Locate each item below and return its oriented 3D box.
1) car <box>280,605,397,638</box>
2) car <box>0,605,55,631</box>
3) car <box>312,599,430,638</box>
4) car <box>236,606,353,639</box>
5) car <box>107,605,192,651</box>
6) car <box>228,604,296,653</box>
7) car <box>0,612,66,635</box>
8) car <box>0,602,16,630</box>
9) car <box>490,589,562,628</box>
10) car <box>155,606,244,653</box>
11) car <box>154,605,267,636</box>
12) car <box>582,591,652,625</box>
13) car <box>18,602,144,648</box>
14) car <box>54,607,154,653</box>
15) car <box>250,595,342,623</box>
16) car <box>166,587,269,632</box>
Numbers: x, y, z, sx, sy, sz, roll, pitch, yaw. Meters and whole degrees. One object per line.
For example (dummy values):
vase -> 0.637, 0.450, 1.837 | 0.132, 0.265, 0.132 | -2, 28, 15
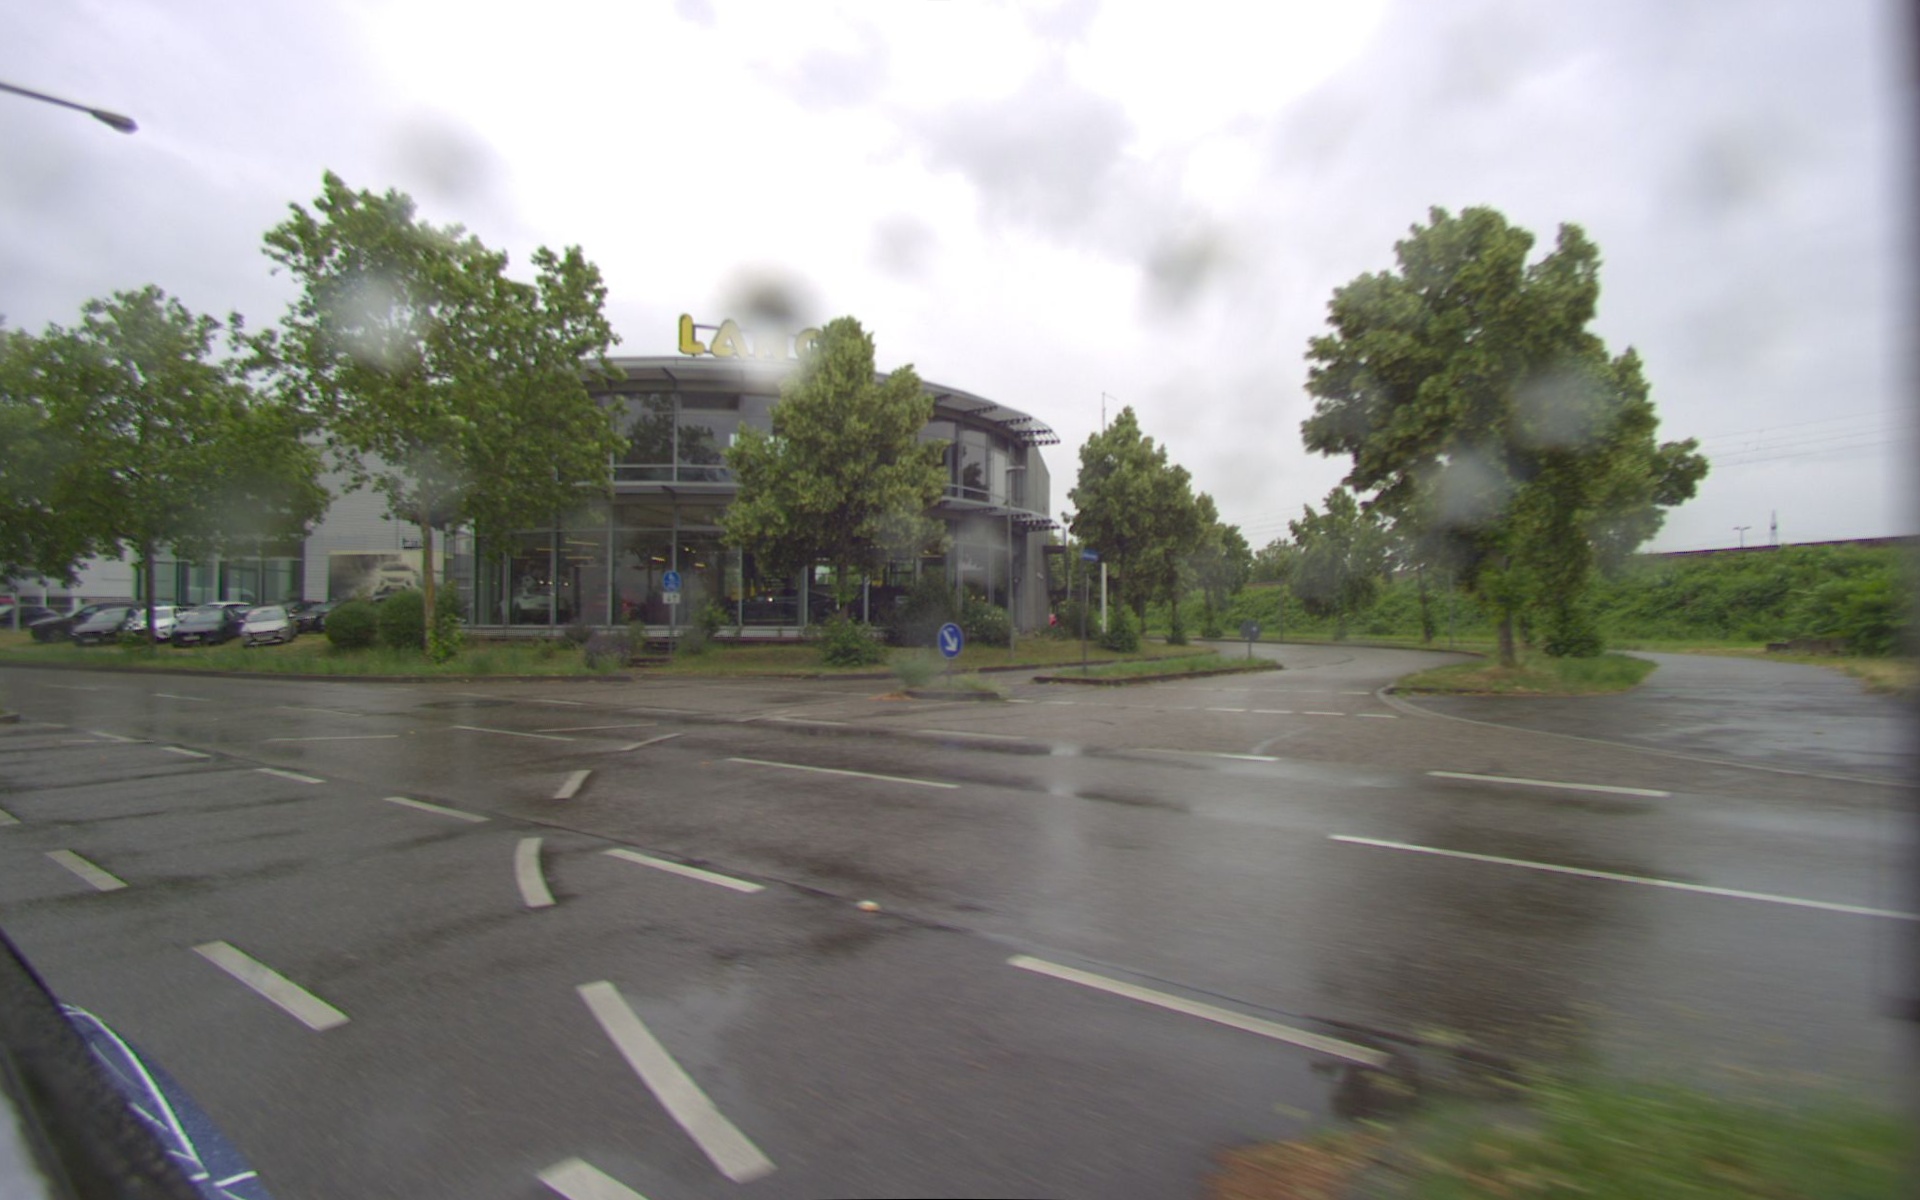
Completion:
car -> -29.433, 1.001, 48.052 | 1.919, 1.485, 4.376 | -1, -1, 41
car -> -54.137, 1.057, 57.275 | 1.830, 1.367, 3.990 | -2, 1, 15
car -> -27.294, 0.840, 47.034 | 1.919, 1.751, 4.376 | -1, -1, 41
car -> -32.067, 1.065, 48.826 | 1.919, 1.485, 4.376 | -1, -1, 41
car -> -36.231, 1.217, 45.375 | 1.816, 1.489, 4.145 | -6, 6, -23
car -> -28.672, 1.127, 41.669 | 1.755, 1.486, 4.014 | -7, 7, -28
car -> -64.071, 1.629, 69.502 | 4.110, 1.407, 1.763 | -2, 0, 10
car -> -56.896, 1.020, 57.766 | 1.830, 1.568, 3.990 | -2, 1, 15
car -> -17.650, 0.373, 41.071 | 1.755, 1.487, 4.121 | 0, -1, -37
car -> -32.447, 1.208, 43.298 | 1.816, 1.432, 4.145 | -6, 6, -20
car -> -37.509, 1.022, 50.762 | 1.900, 1.485, 4.418 | -1, -1, 13
car -> -15.414, 0.377, 45.305 | 1.755, 1.487, 4.121 | 0, -1, -37
car -> -42.267, 1.150, 48.762 | 4.370, 1.567, 1.850 | -9, 8, -41
car -> -39.017, 1.332, 46.259 | 1.817, 1.489, 4.144 | -5, 6, -16
car -> -36.842, 0.510, 56.298 | 1.896, 1.485, 4.427 | -1, -1, 6
car -> -48.393, 0.576, 66.129 | 5.249, 2.773, 2.177 | -1, 1, -33
